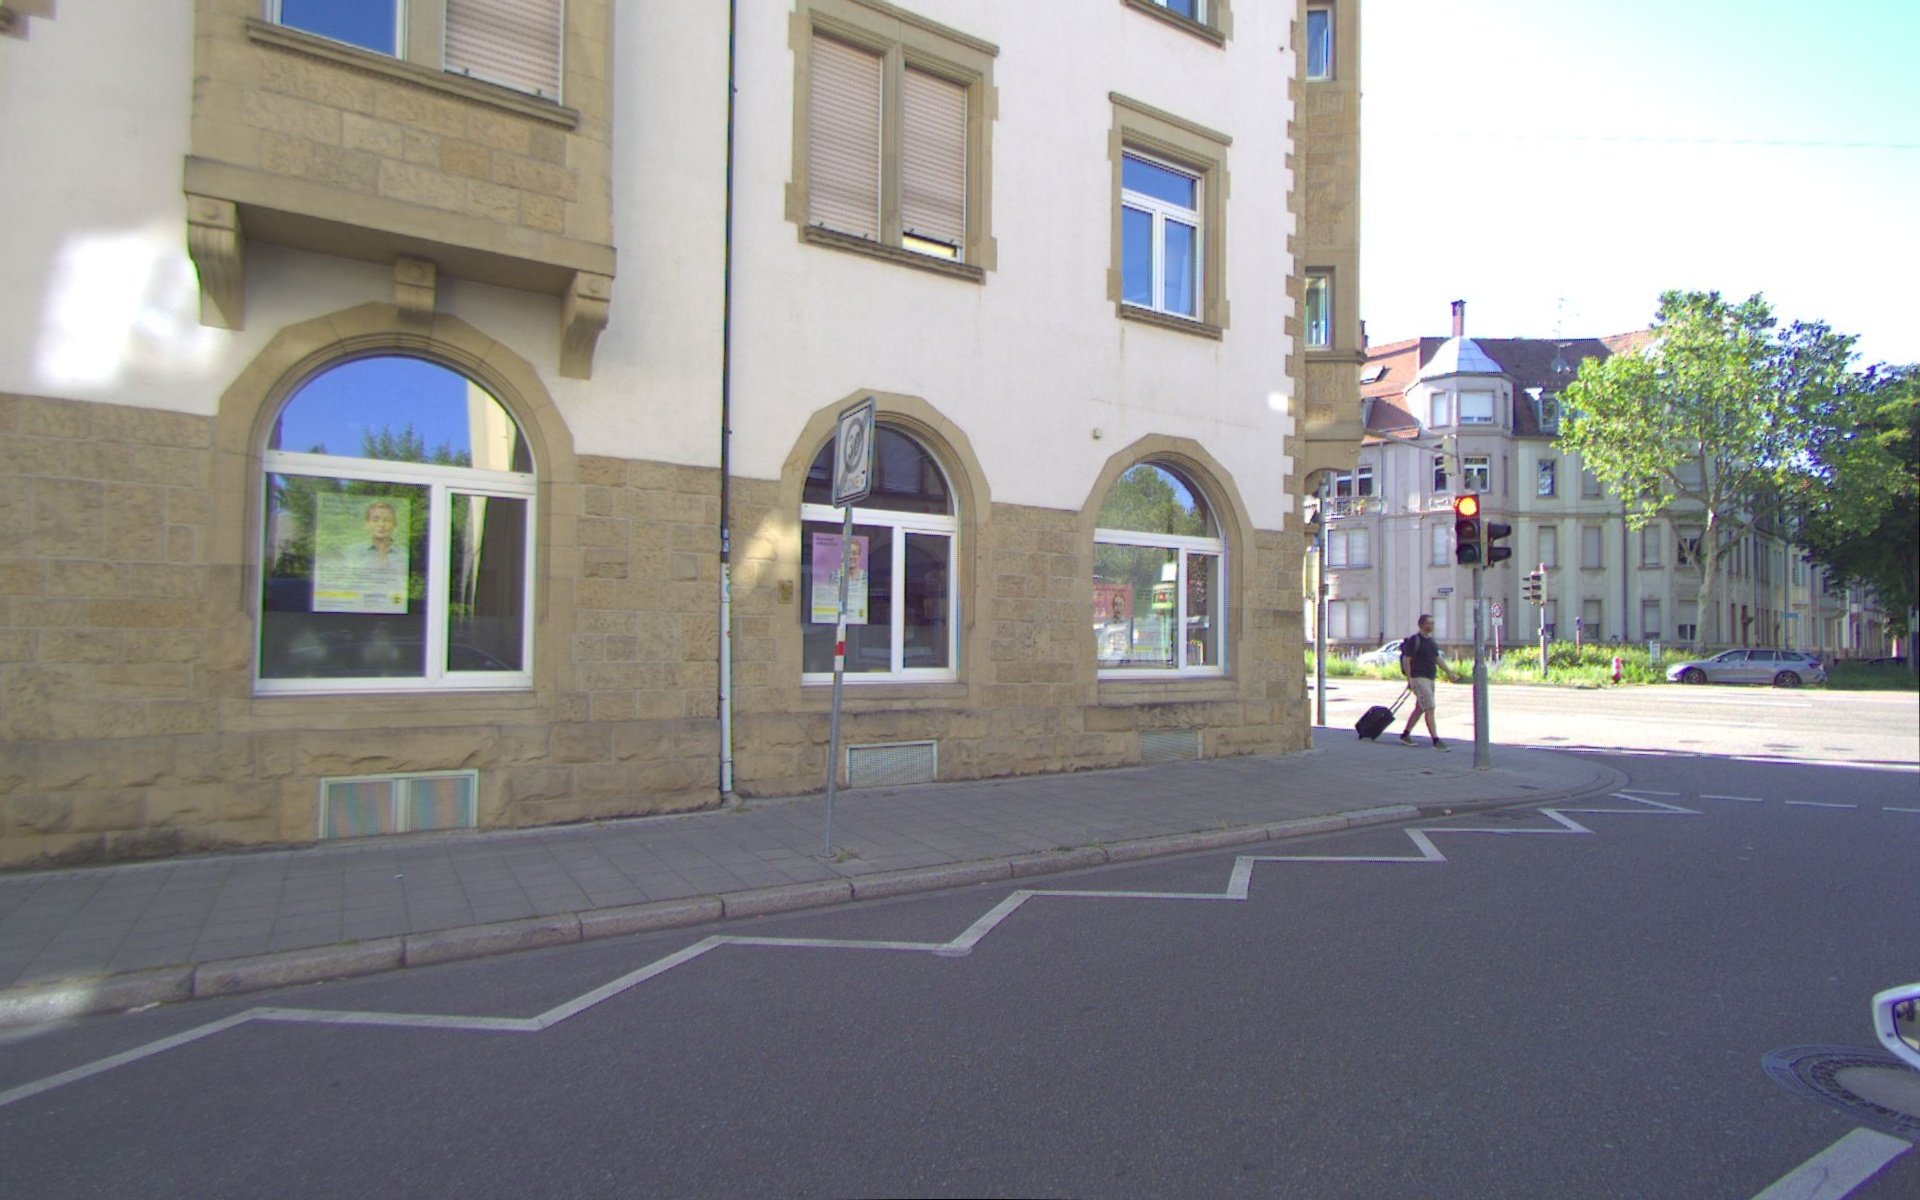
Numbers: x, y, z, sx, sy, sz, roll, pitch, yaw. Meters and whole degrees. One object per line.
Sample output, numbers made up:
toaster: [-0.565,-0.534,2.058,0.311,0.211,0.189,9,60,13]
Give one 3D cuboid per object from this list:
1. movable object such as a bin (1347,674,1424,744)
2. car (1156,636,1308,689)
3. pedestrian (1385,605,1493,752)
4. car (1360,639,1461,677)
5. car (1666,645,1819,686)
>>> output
movable object such as a bin: [5.936,1.505,14.019,0.506,0.904,0.854,2,-3,-42]
car: [8.195,1.835,30.440,4.155,1.476,1.669,-2,-2,42]
pedestrian: [6.536,1.037,13.712,0.743,1.873,1.056,2,1,-42]
car: [18.683,2.380,41.729,3.589,1.476,1.496,-1,-2,41]
car: [28.551,2.357,36.740,4.336,1.334,1.638,-1,-2,41]
